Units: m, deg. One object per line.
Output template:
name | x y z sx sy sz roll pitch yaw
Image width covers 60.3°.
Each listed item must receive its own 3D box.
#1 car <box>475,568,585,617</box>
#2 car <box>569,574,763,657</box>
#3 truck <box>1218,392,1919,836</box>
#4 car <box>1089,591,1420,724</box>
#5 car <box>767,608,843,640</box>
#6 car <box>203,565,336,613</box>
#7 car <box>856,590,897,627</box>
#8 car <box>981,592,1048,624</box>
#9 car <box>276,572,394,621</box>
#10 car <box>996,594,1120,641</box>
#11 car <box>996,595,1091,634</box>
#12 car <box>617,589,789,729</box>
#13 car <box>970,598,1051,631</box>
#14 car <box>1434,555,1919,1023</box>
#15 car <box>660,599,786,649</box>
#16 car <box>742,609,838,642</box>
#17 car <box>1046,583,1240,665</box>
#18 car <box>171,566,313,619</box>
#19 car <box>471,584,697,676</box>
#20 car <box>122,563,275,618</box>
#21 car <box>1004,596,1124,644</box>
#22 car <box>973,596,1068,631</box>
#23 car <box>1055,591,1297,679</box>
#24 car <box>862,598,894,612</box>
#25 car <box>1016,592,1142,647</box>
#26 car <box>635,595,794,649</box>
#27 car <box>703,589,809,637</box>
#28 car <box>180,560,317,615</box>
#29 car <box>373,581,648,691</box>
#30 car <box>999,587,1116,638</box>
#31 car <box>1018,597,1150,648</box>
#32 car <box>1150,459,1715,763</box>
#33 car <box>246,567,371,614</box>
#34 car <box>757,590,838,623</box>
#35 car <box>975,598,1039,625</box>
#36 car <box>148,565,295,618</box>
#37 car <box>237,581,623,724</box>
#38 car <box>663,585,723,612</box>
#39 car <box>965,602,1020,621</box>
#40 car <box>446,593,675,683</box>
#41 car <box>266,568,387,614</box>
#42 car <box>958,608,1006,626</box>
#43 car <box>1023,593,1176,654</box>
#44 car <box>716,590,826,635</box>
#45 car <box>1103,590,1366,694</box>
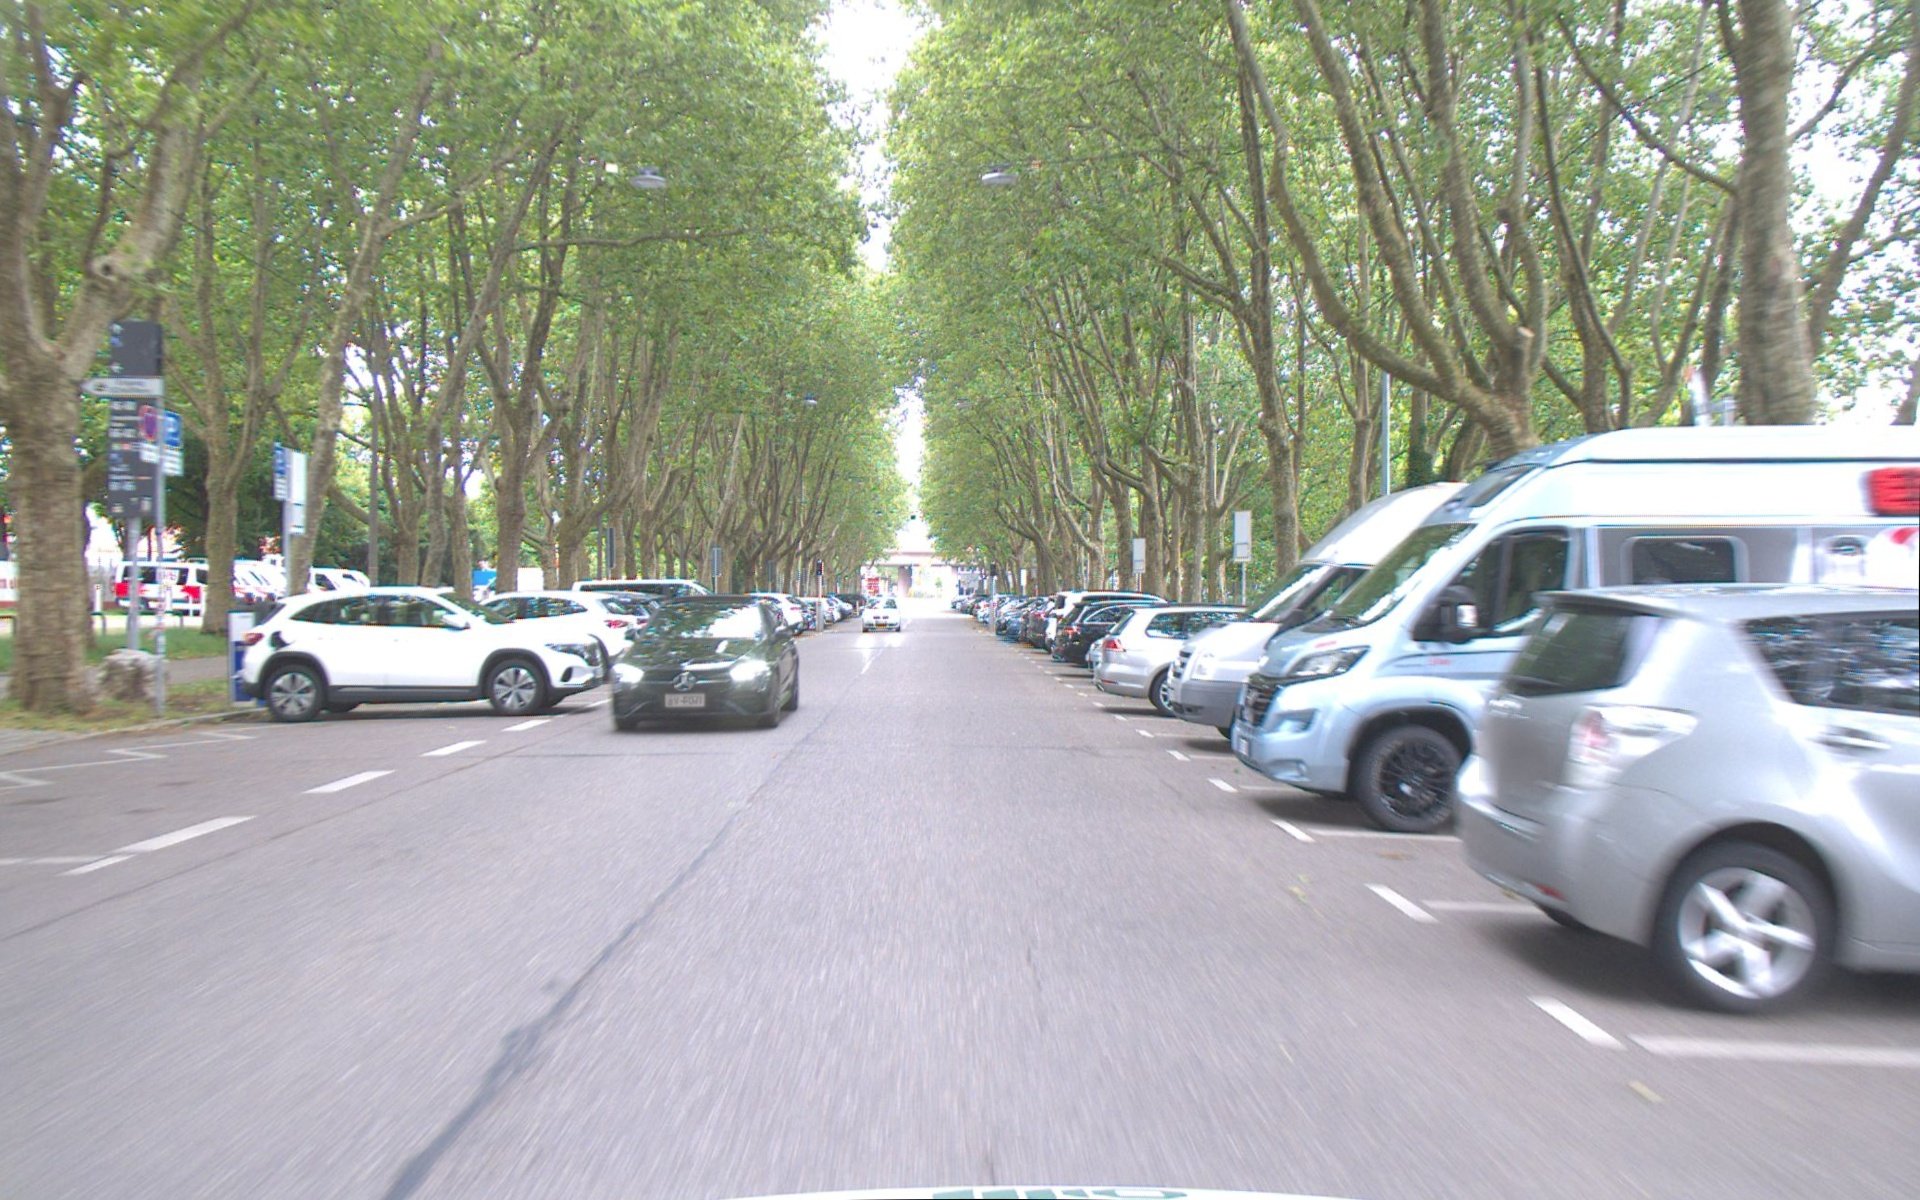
car | -24.544 -0.438 94.543 5.668 2.642 2.000 1 0 -1
car | -7.784 0.397 44.120 4.795 2.054 1.919 -1 0 -2
truck | 5.111 0.120 11.720 6.166 2.762 2.097 1 0 -2
car | 3.806 0.736 21.884 4.035 1.454 1.703 3 -1 1
car | -7.864 1.231 84.262 3.751 1.523 1.693 -1 0 -4
car | -35.207 -0.542 84.487 5.880 2.279 1.999 1 0 -2
car | -3.567 0.338 70.681 1.655 1.497 3.837 -1 0 -3
car | 3.019 0.422 92.003 3.574 1.696 1.518 1 0 -5
car | -35.524 -0.195 94.122 5.880 2.571 1.999 1 0 -2
car | 3.350 0.592 57.066 4.127 1.476 1.610 1 0 -3
car | 3.358 0.575 66.948 3.699 1.495 1.666 1 0 -2
car | -2.881 0.611 19.241 1.622 1.388 4.108 -2 0 -5
car | 2.653 0.757 87.049 4.085 1.624 1.853 1 0 -5
car | 4.371 0.748 6.887 4.250 1.646 1.804 2 0 2
car | -7.695 0.764 53.897 3.917 1.497 1.536 -1 0 -4
car | -7.827 1.186 76.293 4.314 1.388 1.693 -1 0 -4
car | 4.285 0.564 39.110 4.297 1.786 1.800 2 0 -3
car | -34.509 -0.361 79.653 5.880 2.358 1.999 1 0 -2
car | -7.750 0.598 34.428 4.254 1.697 1.999 -2 0 -3
car | -34.256 -0.420 74.530 5.880 2.292 1.999 1 0 -2
car | 3.398 0.656 54.499 3.750 1.481 1.693 1 0 -3
car | 2.781 0.624 76.750 4.213 1.495 1.622 1 0 -5
car | 4.155 0.659 32.211 4.412 1.552 1.702 2 0 -3
car | -9.957 0.613 200.738 3.734 1.542 1.686 1 0 2
car | 3.721 0.608 52.153 3.750 1.635 1.693 1 0 -3
car | -7.265 0.648 49.164 4.355 1.478 1.775 -1 0 3
car | -7.512 0.461 61.290 3.751 1.656 1.951 -1 0 -4
car | -35.326 -0.624 82.253 5.880 2.571 1.999 1 0 -2
car | -7.783 0.599 28.970 4.254 1.697 1.999 -2 0 -3
car | 3.474 0.435 59.263 4.030 1.699 1.694 1 0 -1
car | 3.675 0.662 49.546 3.750 1.413 1.693 1 0 -3
car | 4.651 0.109 16.838 5.122 2.736 1.957 2 0 -1
car | -35.129 -0.501 89.333 5.880 2.370 1.999 1 0 -2
car | -7.711 0.292 78.812 3.751 1.455 1.693 -1 0 -4
car | 2.750 0.657 97.126 3.574 1.449 1.983 1 0 -5
car | -34.316 -0.387 76.984 5.880 2.292 1.999 1 0 -2
car | -6.658 0.637 21.183 4.292 1.625 1.999 -2 0 -3
car | -23.204 -0.118 143.940 4.976 2.271 1.535 1 0 -3
car | 2.768 0.941 138.712 4.478 1.512 2.001 1 0 4
car | -7.548 0.695 31.551 3.908 1.501 1.842 -2 0 -3
car | -35.128 -0.494 91.831 5.880 2.345 1.999 1 0 -2
car | 1.933 1.498 146.057 4.088 1.467 1.732 1 0 4
car | 3.716 0.620 44.450 3.907 1.512 1.693 1 0 -3
car | -7.321 0.487 64.241 3.984 1.636 1.799 -1 0 1
car | 4.460 0.675 27.255 3.963 1.552 1.814 2 0 -3
